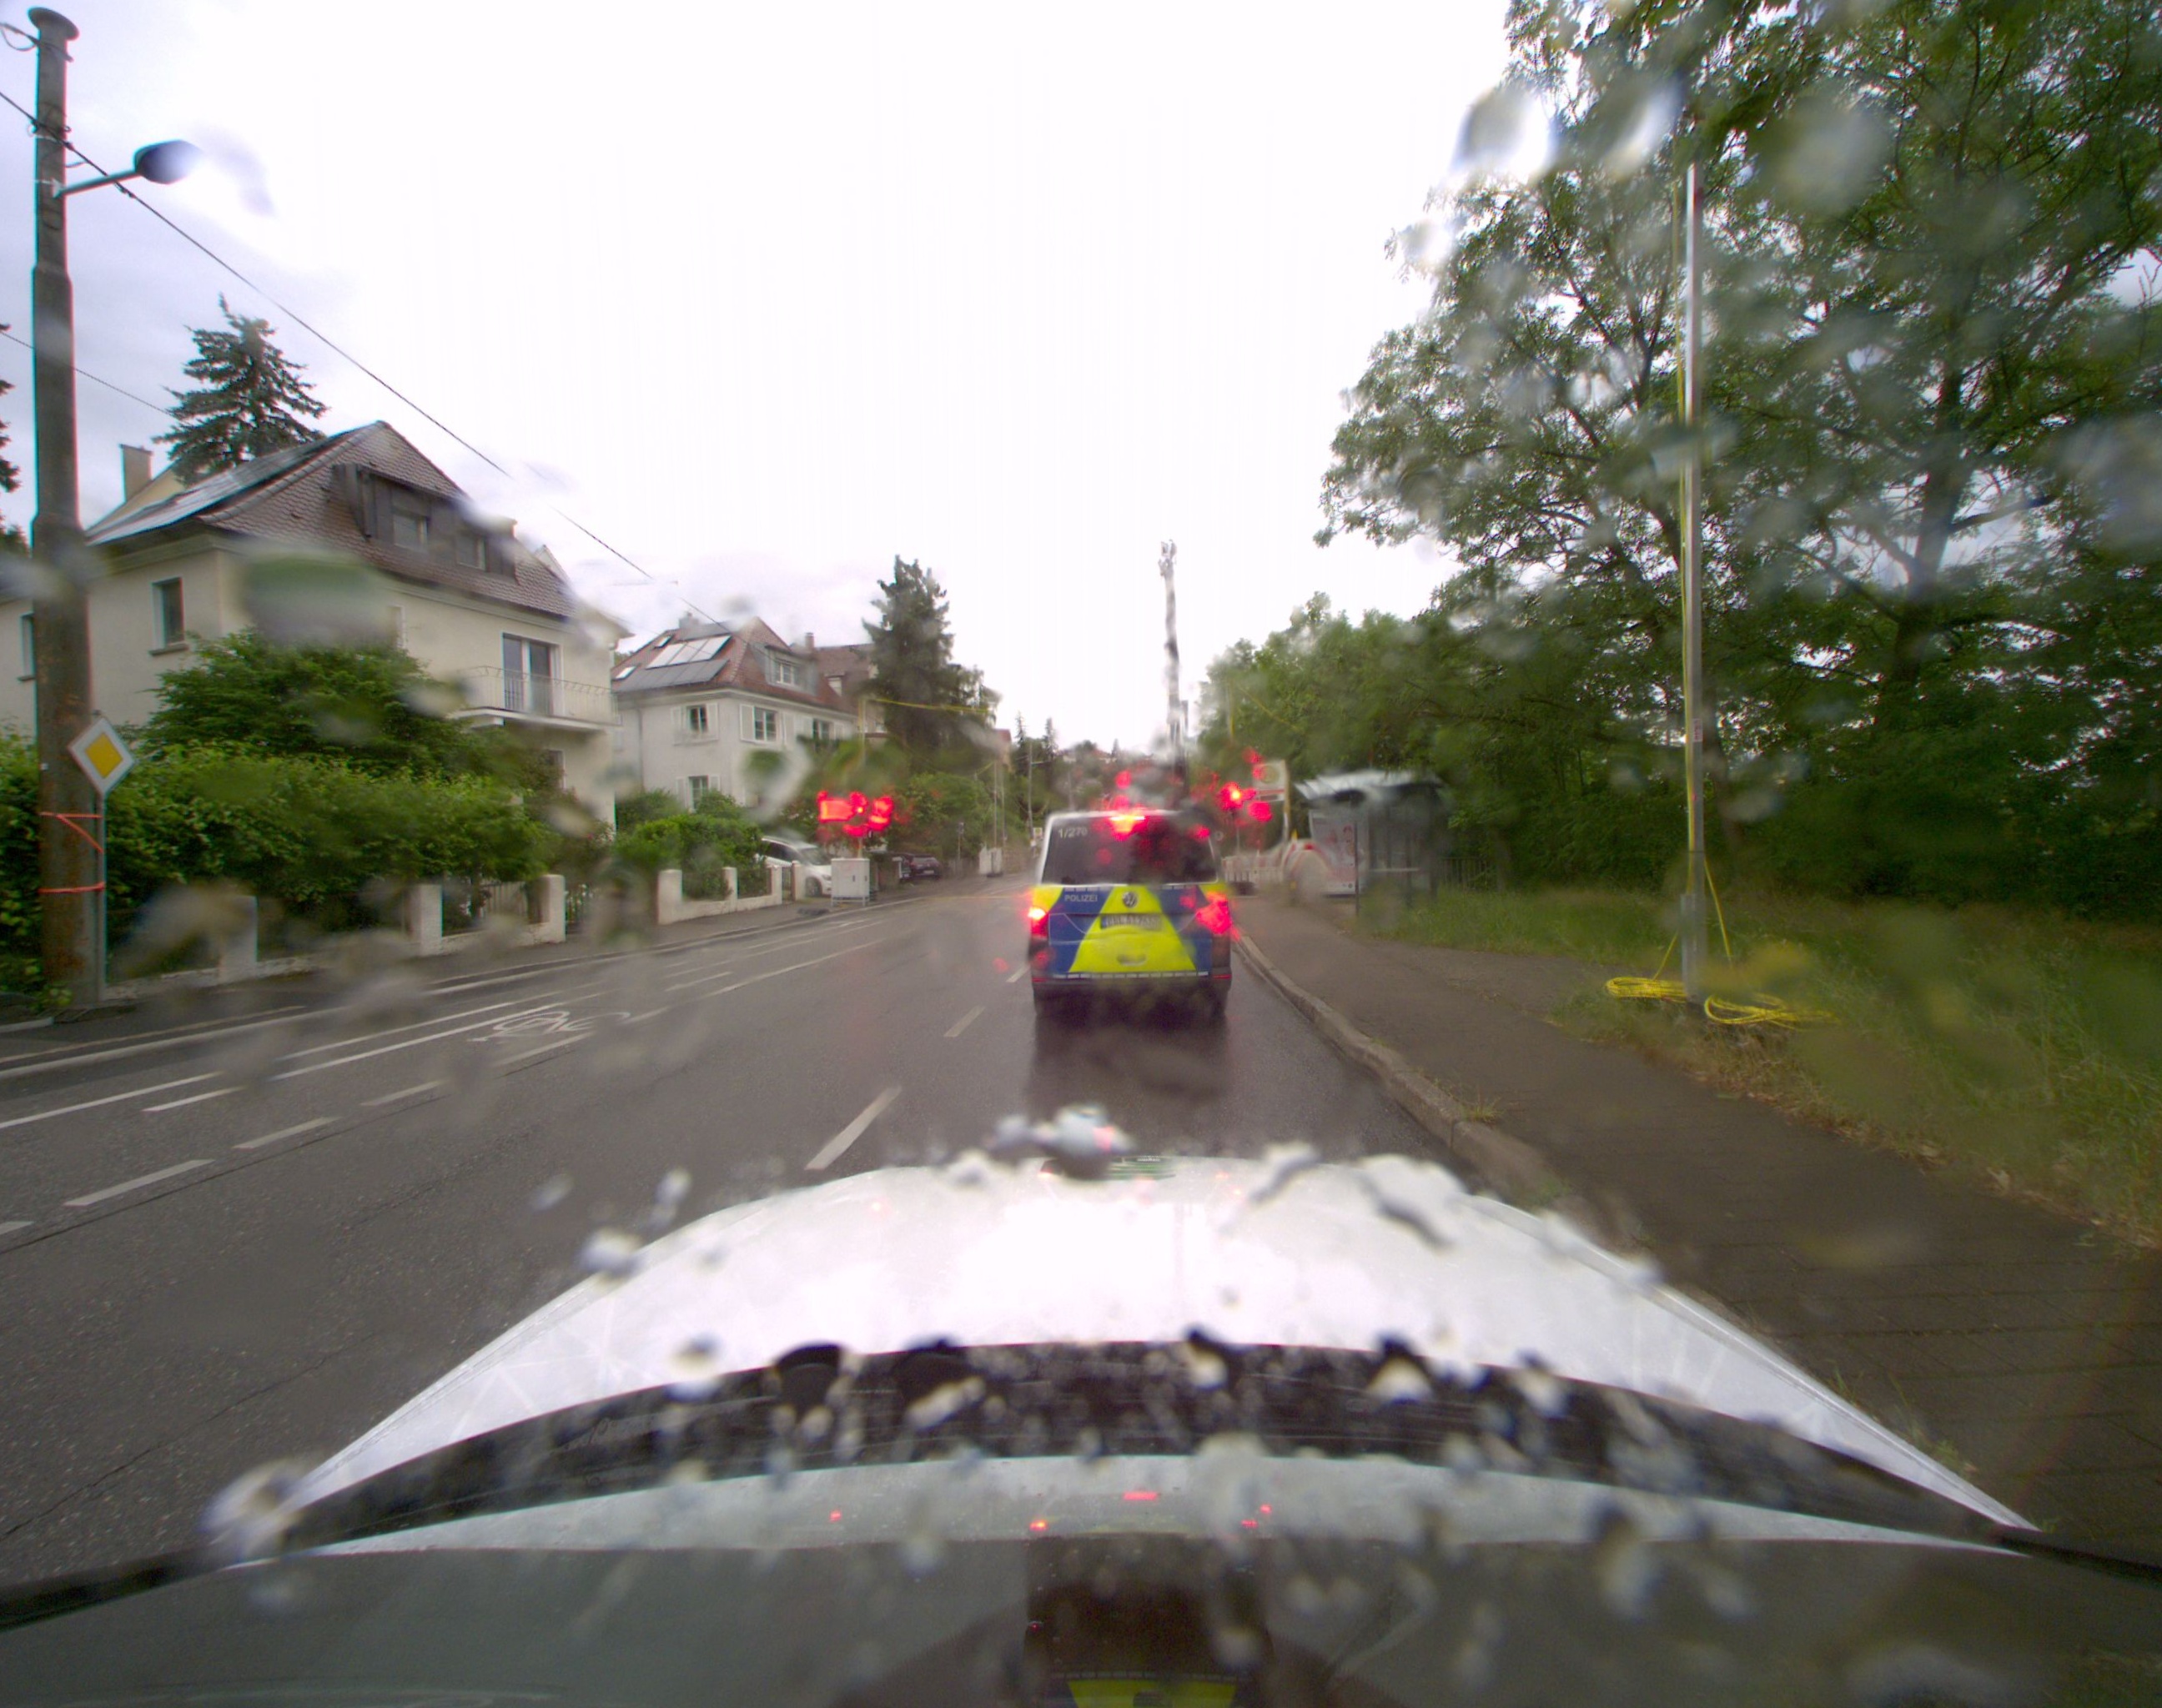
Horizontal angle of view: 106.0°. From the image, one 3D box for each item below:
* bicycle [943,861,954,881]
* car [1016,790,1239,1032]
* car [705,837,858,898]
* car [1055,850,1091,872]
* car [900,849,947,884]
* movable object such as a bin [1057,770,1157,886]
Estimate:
[{"bbox_3d":[-6.502,0.825,39.888,0.463,0.897,1.627,-1,0,-12],"label":"bicycle"},{"bbox_3d":[0.460,0.484,8.941,1.886,2.050,4.002,0,0,2],"label":"car"},{"bbox_3d":[-10.282,0.456,28.055,4.599,2.007,1.907,0,0,13],"label":"car"},{"bbox_3d":[-0.554,0.510,60.612,1.842,1.527,4.832,0,0,10],"label":"car"},{"bbox_3d":[-7.457,0.554,38.298,1.770,1.486,3.720,0,1,-17],"label":"car"},{"bbox_3d":[1.104,-0.929,31.771,2.809,4.177,4.400,0,0,17],"label":"movable object such as a bin"}]
